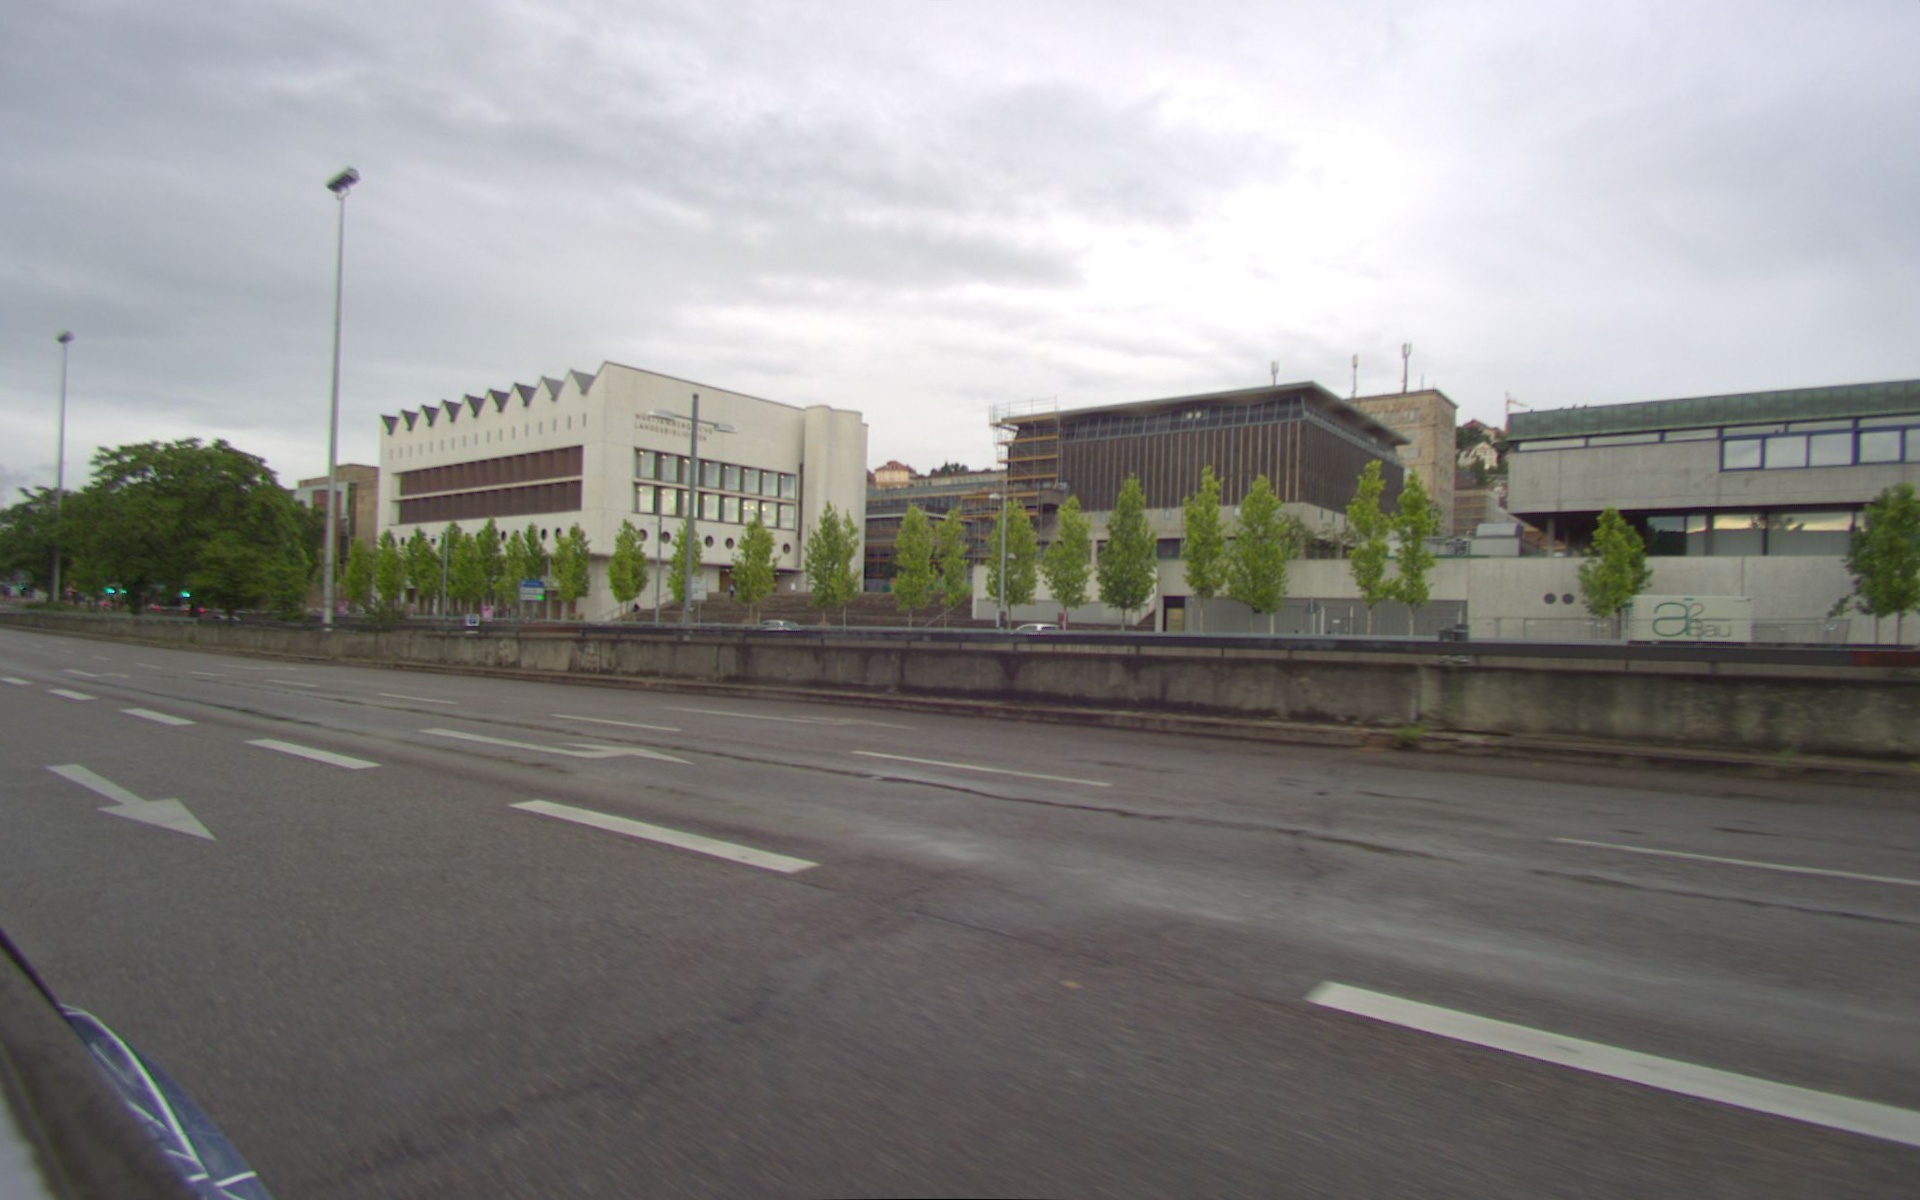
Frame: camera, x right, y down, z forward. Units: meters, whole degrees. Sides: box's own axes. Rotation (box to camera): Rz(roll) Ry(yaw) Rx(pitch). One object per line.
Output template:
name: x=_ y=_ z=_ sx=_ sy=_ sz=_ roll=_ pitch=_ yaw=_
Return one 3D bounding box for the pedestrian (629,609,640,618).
pedestrian: x=-31.088 y=1.312 z=96.649 sx=0.628 sy=0.894 sz=0.798 roll=0 pitch=-1 yaw=41

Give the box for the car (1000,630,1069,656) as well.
car: x=3.497 y=1.996 z=47.725 sx=3.017 sy=1.122 sz=1.426 roll=0 pitch=0 yaw=39

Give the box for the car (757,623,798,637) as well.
car: x=-10.570 y=1.747 z=58.478 sx=2.549 sy=0.751 sz=0.812 roll=0 pitch=0 yaw=36

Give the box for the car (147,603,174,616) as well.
car: x=-96.050 y=1.123 z=121.528 sx=3.470 sy=1.567 sz=1.678 roll=0 pitch=0 yaw=37

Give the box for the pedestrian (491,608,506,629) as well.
pedestrian: x=-42.868 y=1.707 z=93.947 sx=1.071 sy=1.880 sz=0.831 roll=1 pitch=-1 yaw=-37
